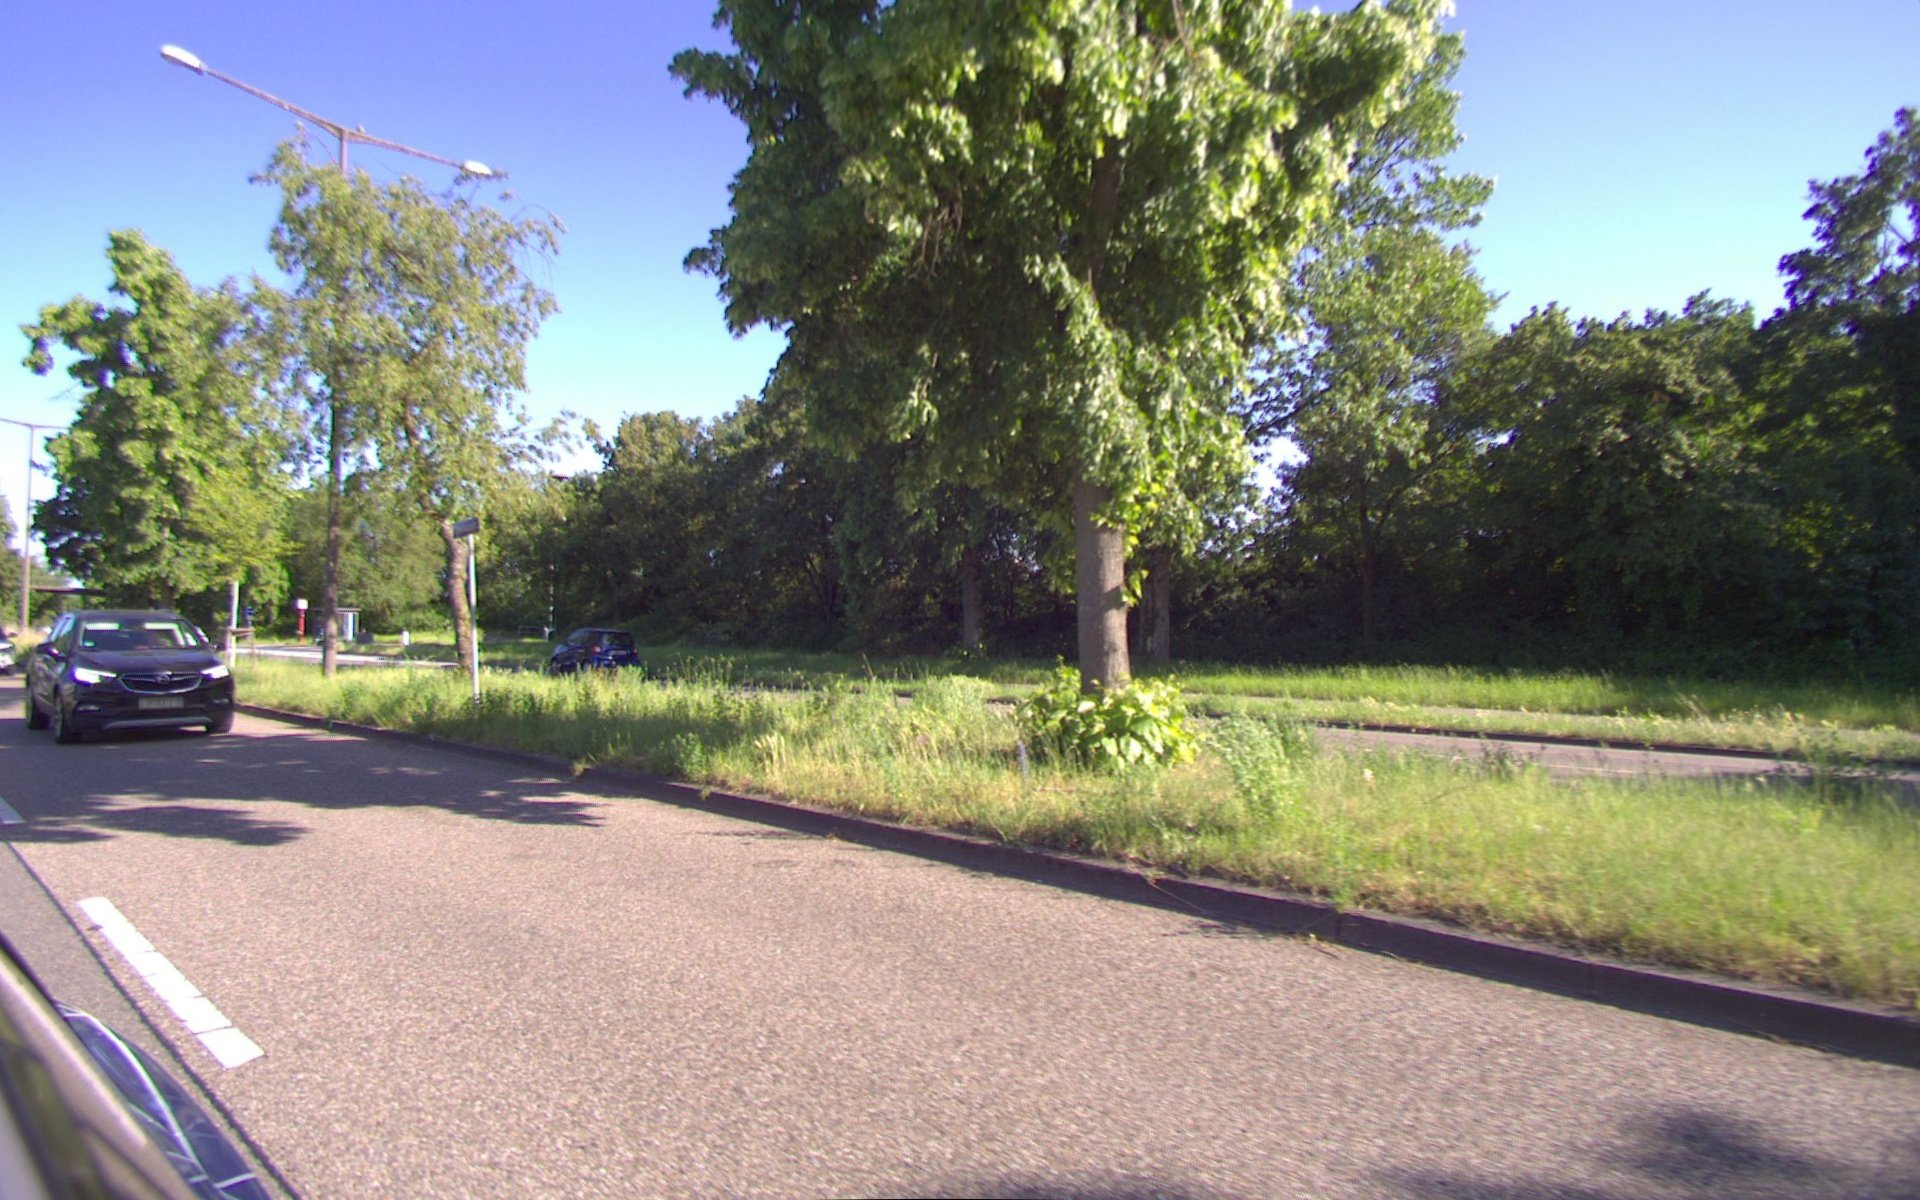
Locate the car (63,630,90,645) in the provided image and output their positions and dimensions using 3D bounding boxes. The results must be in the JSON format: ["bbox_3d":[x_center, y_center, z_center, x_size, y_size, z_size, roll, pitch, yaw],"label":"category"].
[{"bbox_3d":[-77.964,3.286,89.293,1.688,1.265,4.004,1,-2,-43],"label":"car"}]

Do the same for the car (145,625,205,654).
[{"bbox_3d":[-48.868,2.471,62.971,4.581,1.601,1.821,-2,-8,40],"label":"car"}]

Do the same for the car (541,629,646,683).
[{"bbox_3d":[-10.982,1.626,30.302,3.014,1.517,1.697,-1,-2,40],"label":"car"}]

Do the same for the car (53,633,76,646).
[{"bbox_3d":[-93.488,4.108,105.623,1.688,1.265,4.004,1,-2,-43],"label":"car"}]

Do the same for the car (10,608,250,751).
[{"bbox_3d":[-11.338,0.969,13.712,4.512,1.627,1.787,-1,-2,41],"label":"car"}]

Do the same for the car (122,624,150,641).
[{"bbox_3d":[-70.365,2.743,86.384,1.563,1.425,3.134,1,-2,-44],"label":"car"}]

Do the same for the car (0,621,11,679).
[{"bbox_3d":[-28.502,1.440,28.805,4.645,1.574,1.799,-3,-3,42],"label":"car"}]

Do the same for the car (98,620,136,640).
[{"bbox_3d":[-65.356,2.358,78.432,4.063,1.483,1.694,-2,-4,42],"label":"car"}]
